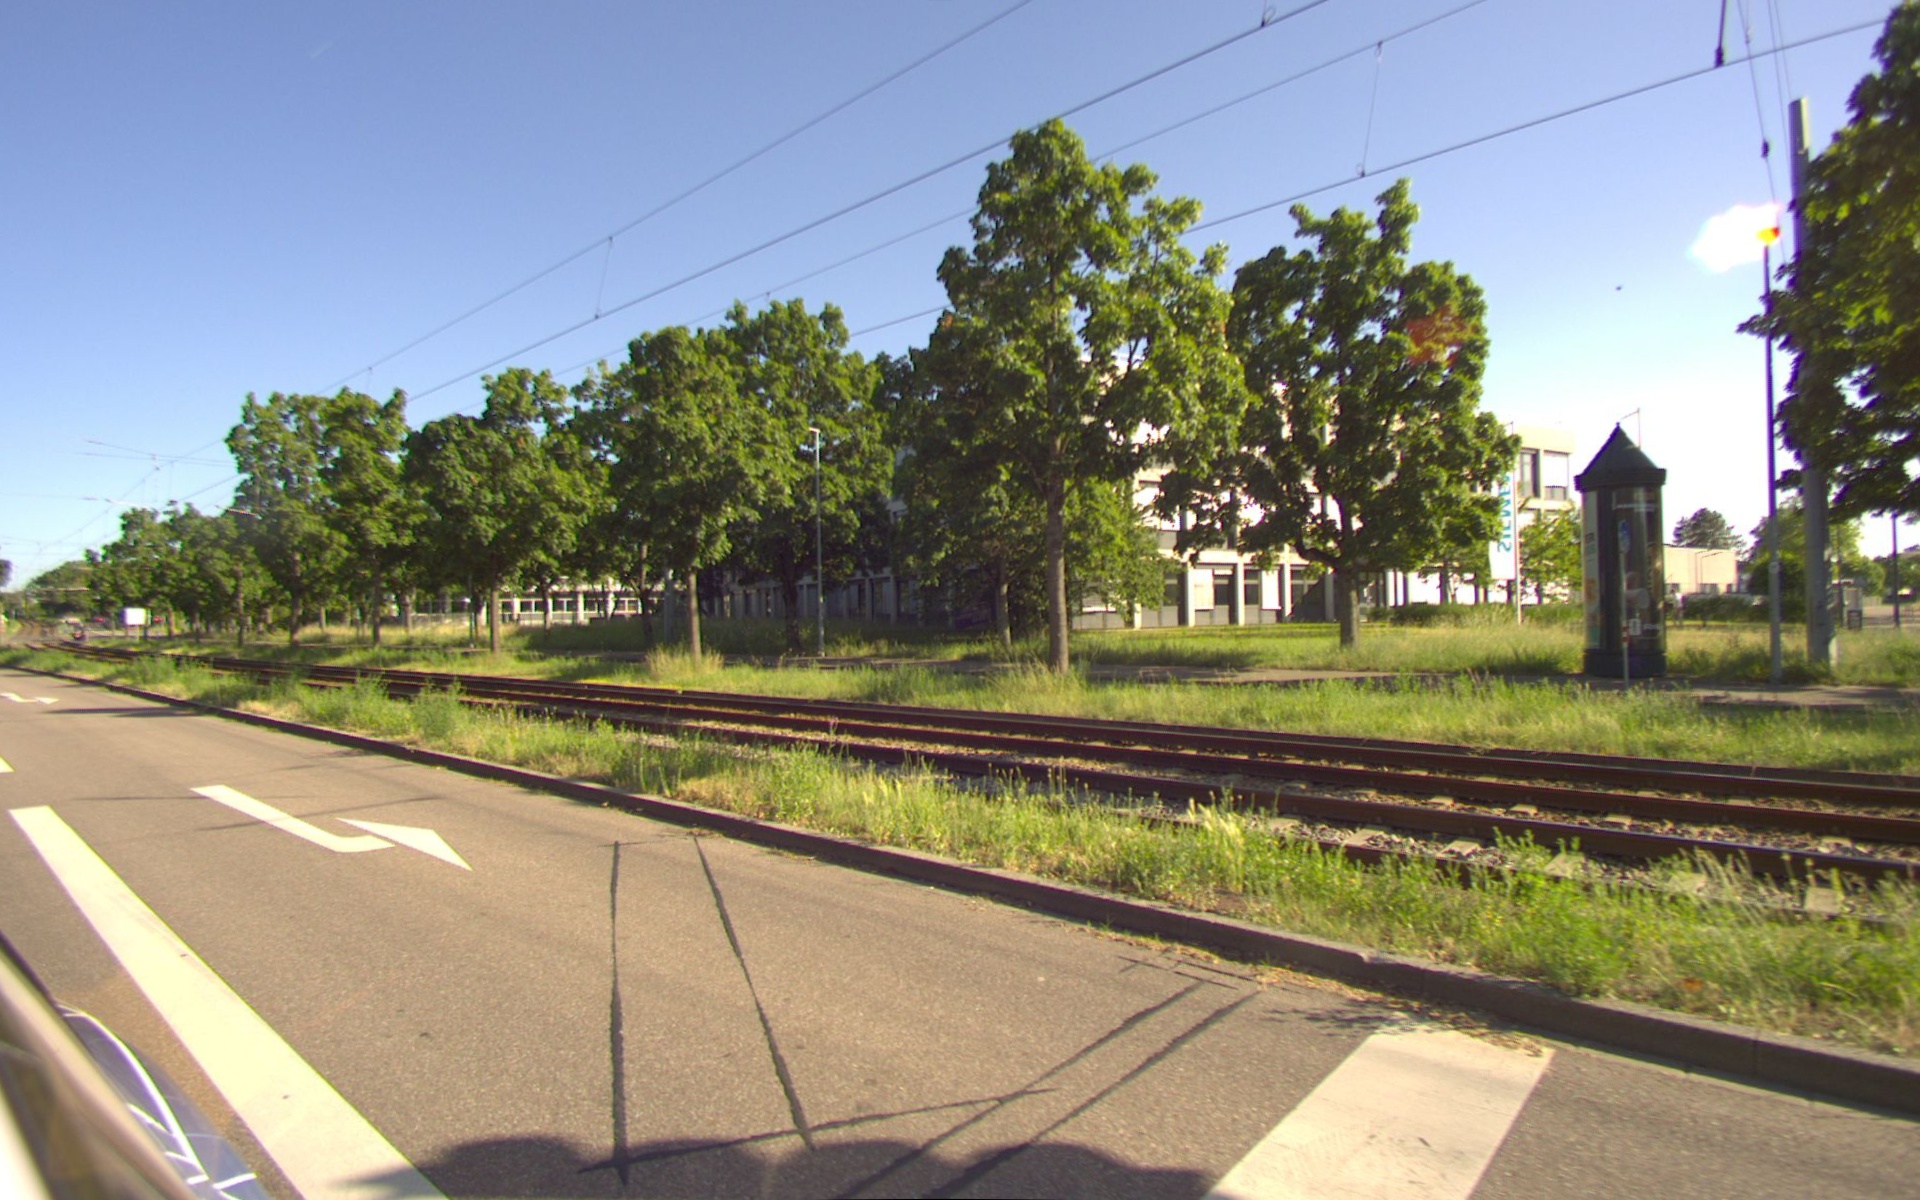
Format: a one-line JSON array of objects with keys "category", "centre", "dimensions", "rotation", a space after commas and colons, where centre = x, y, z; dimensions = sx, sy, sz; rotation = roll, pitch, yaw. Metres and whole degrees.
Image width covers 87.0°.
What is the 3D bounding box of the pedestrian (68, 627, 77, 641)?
[{"category": "pedestrian", "centre": [-110.401, 4.198, 125.945], "dimensions": [0.775, 1.765, 0.782], "rotation": [0, -1, -45]}]
